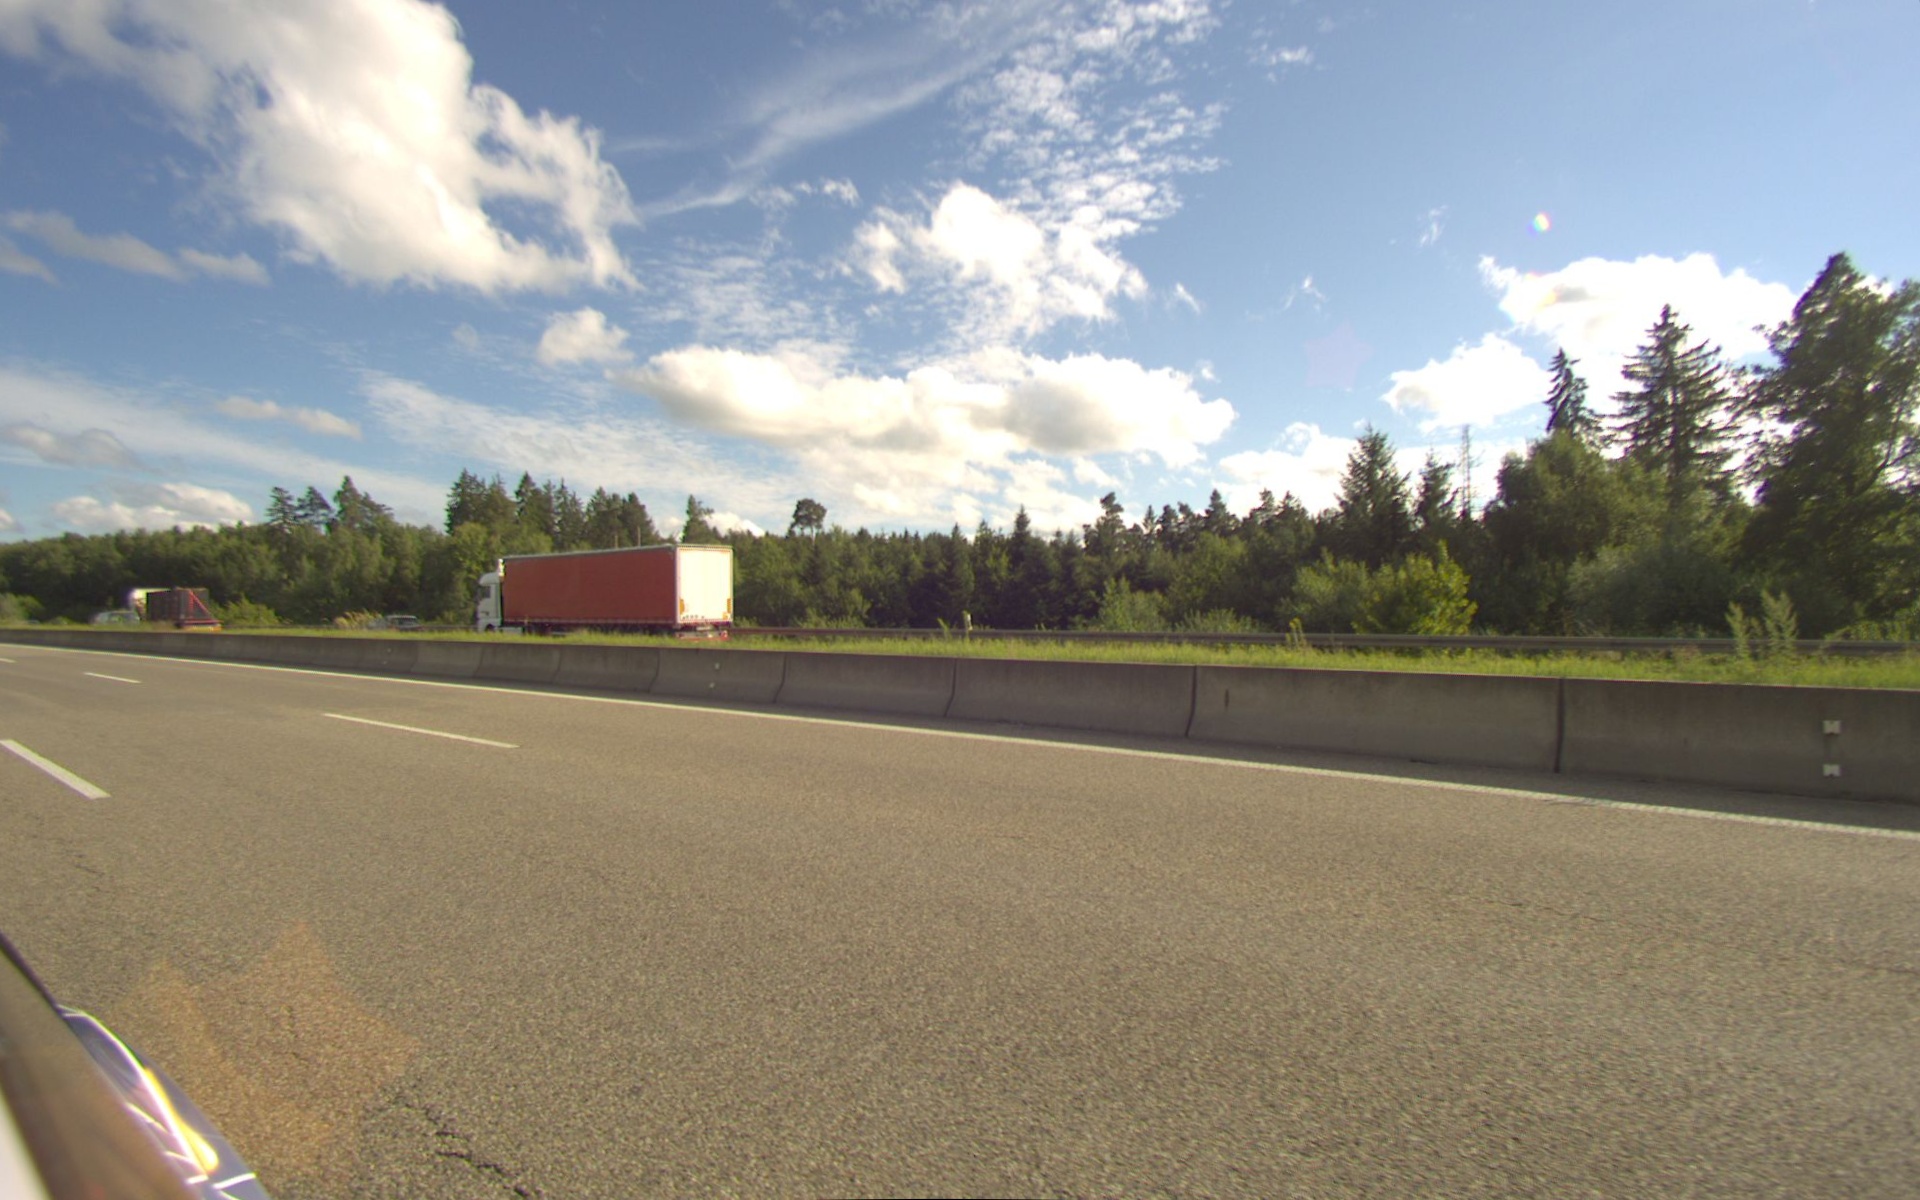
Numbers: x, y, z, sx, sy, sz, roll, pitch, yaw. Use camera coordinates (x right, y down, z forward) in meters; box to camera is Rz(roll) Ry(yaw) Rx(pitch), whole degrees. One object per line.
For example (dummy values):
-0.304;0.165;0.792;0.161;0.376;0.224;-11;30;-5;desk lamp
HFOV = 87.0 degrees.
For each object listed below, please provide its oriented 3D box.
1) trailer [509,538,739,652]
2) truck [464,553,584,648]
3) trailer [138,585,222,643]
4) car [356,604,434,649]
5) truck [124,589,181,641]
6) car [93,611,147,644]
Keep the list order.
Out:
-14.315;-0.068;42.051;12.784;4.140;2.990;-1;-1;41;trailer
-20.456;0.059;47.390;5.665;4.140;2.993;-1;-1;41;truck
-64.010;1.193;82.915;12.037;4.425;2.775;-1;-1;39;trailer
-26.619;1.212;47.666;3.998;2.029;1.973;-1;-1;41;car
-70.146;1.324;87.914;5.458;4.425;2.775;-1;-1;39;truck
-53.925;1.735;64.939;4.349;2.029;1.973;-1;-1;40;car
